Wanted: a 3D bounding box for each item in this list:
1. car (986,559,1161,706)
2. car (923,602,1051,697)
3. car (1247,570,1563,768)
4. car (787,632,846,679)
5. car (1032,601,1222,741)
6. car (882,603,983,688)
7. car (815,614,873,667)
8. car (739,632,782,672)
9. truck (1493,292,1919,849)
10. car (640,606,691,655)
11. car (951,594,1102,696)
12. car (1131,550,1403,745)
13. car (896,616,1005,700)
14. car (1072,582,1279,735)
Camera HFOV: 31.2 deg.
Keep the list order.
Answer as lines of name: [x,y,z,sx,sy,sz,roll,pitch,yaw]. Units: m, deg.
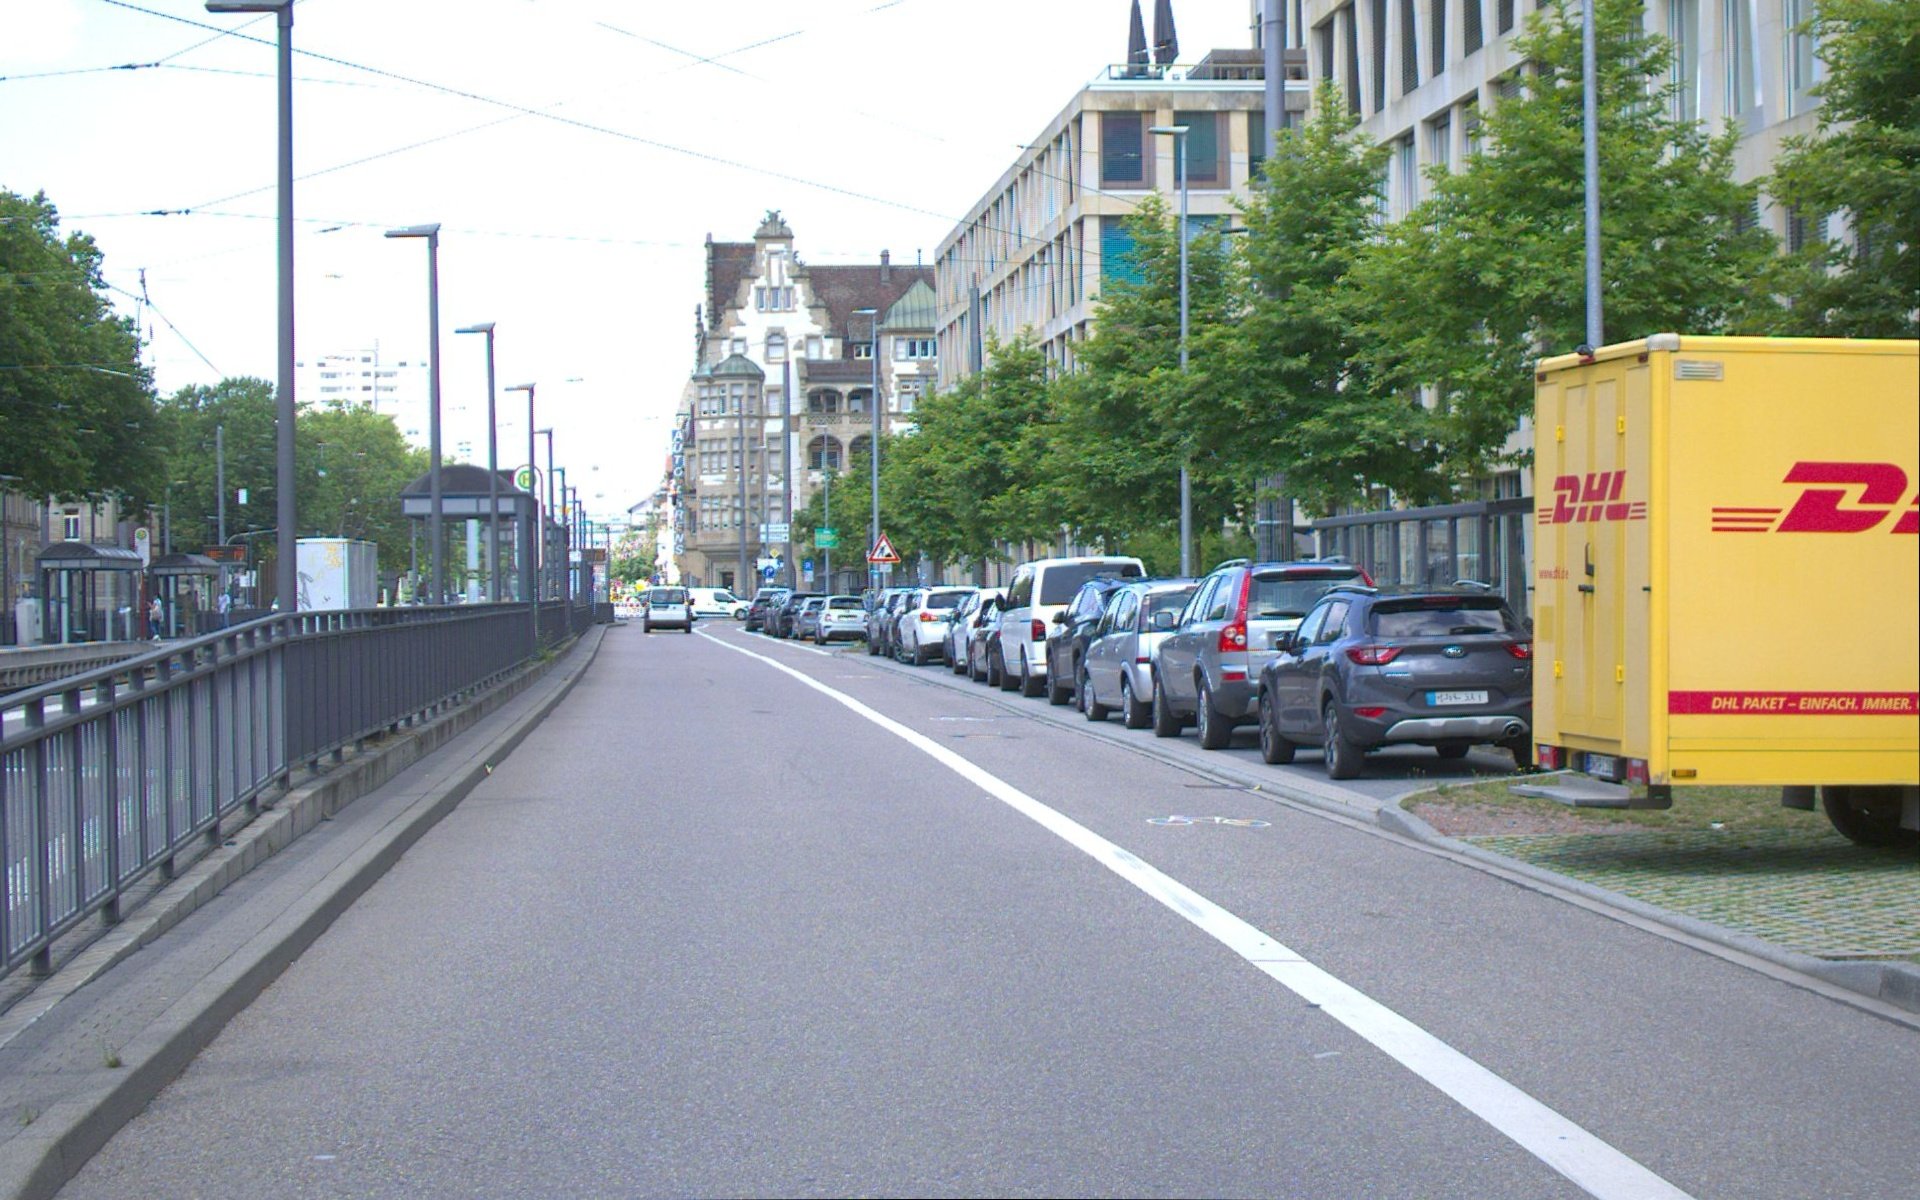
car: [1.595,0.524,50.169,1.881,1.933,4.843,-2,-2,-6]
car: [0.446,0.905,60.872,1.792,1.525,4.159,-2,-2,-6]
car: [3.581,0.609,28.360,1.691,1.500,4.068,0,-2,-6]
car: [-4.823,1.857,114.782,1.591,1.430,4.107,2,-2,-7]
car: [2.060,0.943,43.658,1.721,1.635,4.527,-2,-2,-6]
car: [-0.598,0.967,71.073,1.685,1.601,4.152,-2,-2,-6]
car: [-3.507,1.232,103.512,1.591,1.455,3.613,1,-2,-4]
car: [-8.218,2.144,141.352,1.443,1.465,4.093,-3,-2,-7]
truck: [6.667,-0.127,19.259,6.804,2.858,2.455,0,-3,-7]
car: [-11.411,1.195,132.873,1.868,1.741,4.000,1,-3,-6]
car: [1.028,0.756,55.620,1.881,1.482,4.563,-1,-2,-6]
car: [2.922,0.529,33.759,1.768,1.762,4.840,0,-2,-6]
car: [-0.215,1.135,65.872,1.685,1.453,3.950,-2,-2,-6]
car: [2.378,0.703,38.899,1.721,1.614,3.860,0,-2,-6]
